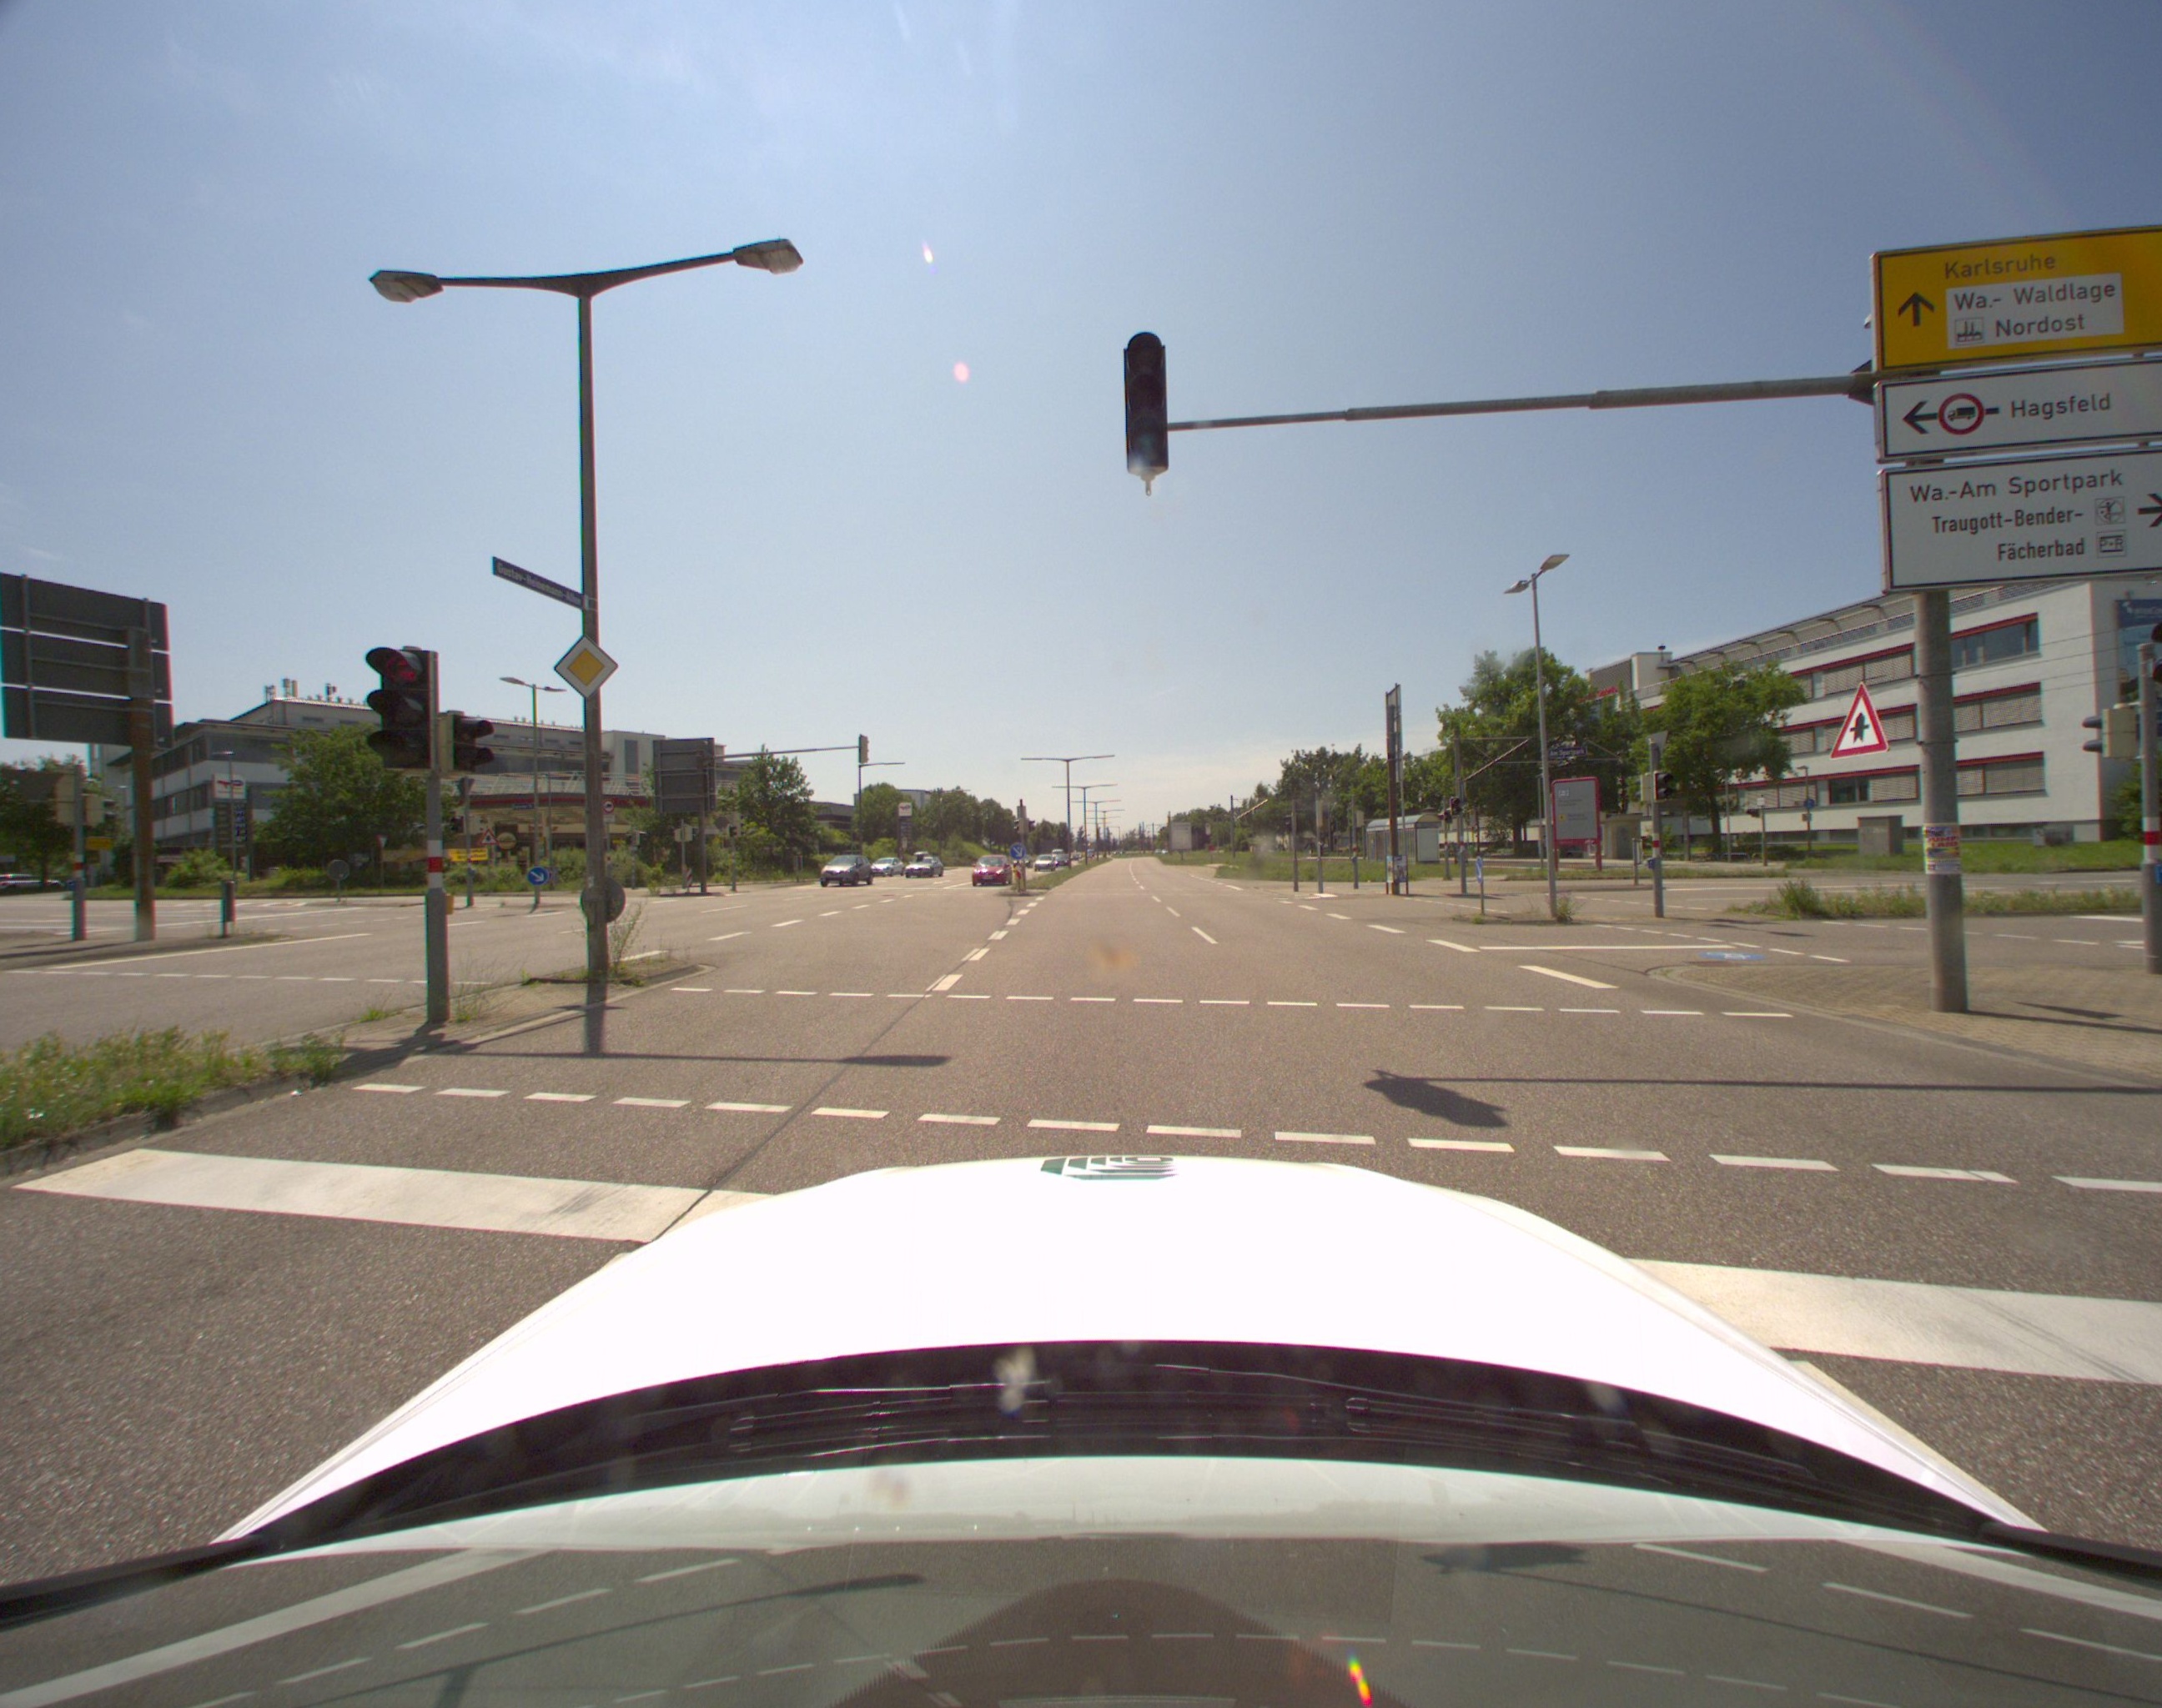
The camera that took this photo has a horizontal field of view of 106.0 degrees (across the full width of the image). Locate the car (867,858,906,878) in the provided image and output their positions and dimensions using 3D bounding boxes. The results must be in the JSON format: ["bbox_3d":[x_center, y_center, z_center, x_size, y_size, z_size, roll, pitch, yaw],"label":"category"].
[{"bbox_3d":[-14.821,1.030,62.353,1.815,1.449,3.832,-1,-1,4],"label":"car"}]

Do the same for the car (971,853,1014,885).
[{"bbox_3d":[-4.441,0.742,41.305,1.652,1.490,4.001,-2,0,1],"label":"car"}]

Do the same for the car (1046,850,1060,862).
[{"bbox_3d":[-5.416,0.442,160.111,2.240,2.273,5.453,0,0,3],"label":"car"}]

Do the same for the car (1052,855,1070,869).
[{"bbox_3d":[-2.078,0.831,86.893,1.669,1.434,4.192,-1,0,2],"label":"car"}]

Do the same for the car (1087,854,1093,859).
[{"bbox_3d":[2.499,0.678,226.644,1.724,1.458,4.566,-2,0,2],"label":"car"}]

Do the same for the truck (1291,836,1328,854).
[{"bbox_3d":[41.235,-1.593,146.914,5.831,2.843,2.316,-3,-1,-5],"label":"truck"}]

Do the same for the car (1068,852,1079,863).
[{"bbox_3d":[-1.432,0.674,158.311,1.988,2.014,3.997,0,-1,-1],"label":"car"}]

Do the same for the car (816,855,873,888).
[{"bbox_3d":[-12.038,0.857,41.698,1.652,1.539,4.001,-1,0,1],"label":"car"}]

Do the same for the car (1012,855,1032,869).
[{"bbox_3d":[-6.299,0.800,86.823,1.631,1.429,4.054,-2,0,2],"label":"car"}]

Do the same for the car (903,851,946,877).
[{"bbox_3d":[-10.980,0.674,57.462,1.958,1.750,5.023,-2,0,1],"label":"car"}]

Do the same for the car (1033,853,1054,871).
[{"bbox_3d":[-3.244,0.681,71.396,1.555,1.423,3.855,-1,1,1],"label":"car"}]
